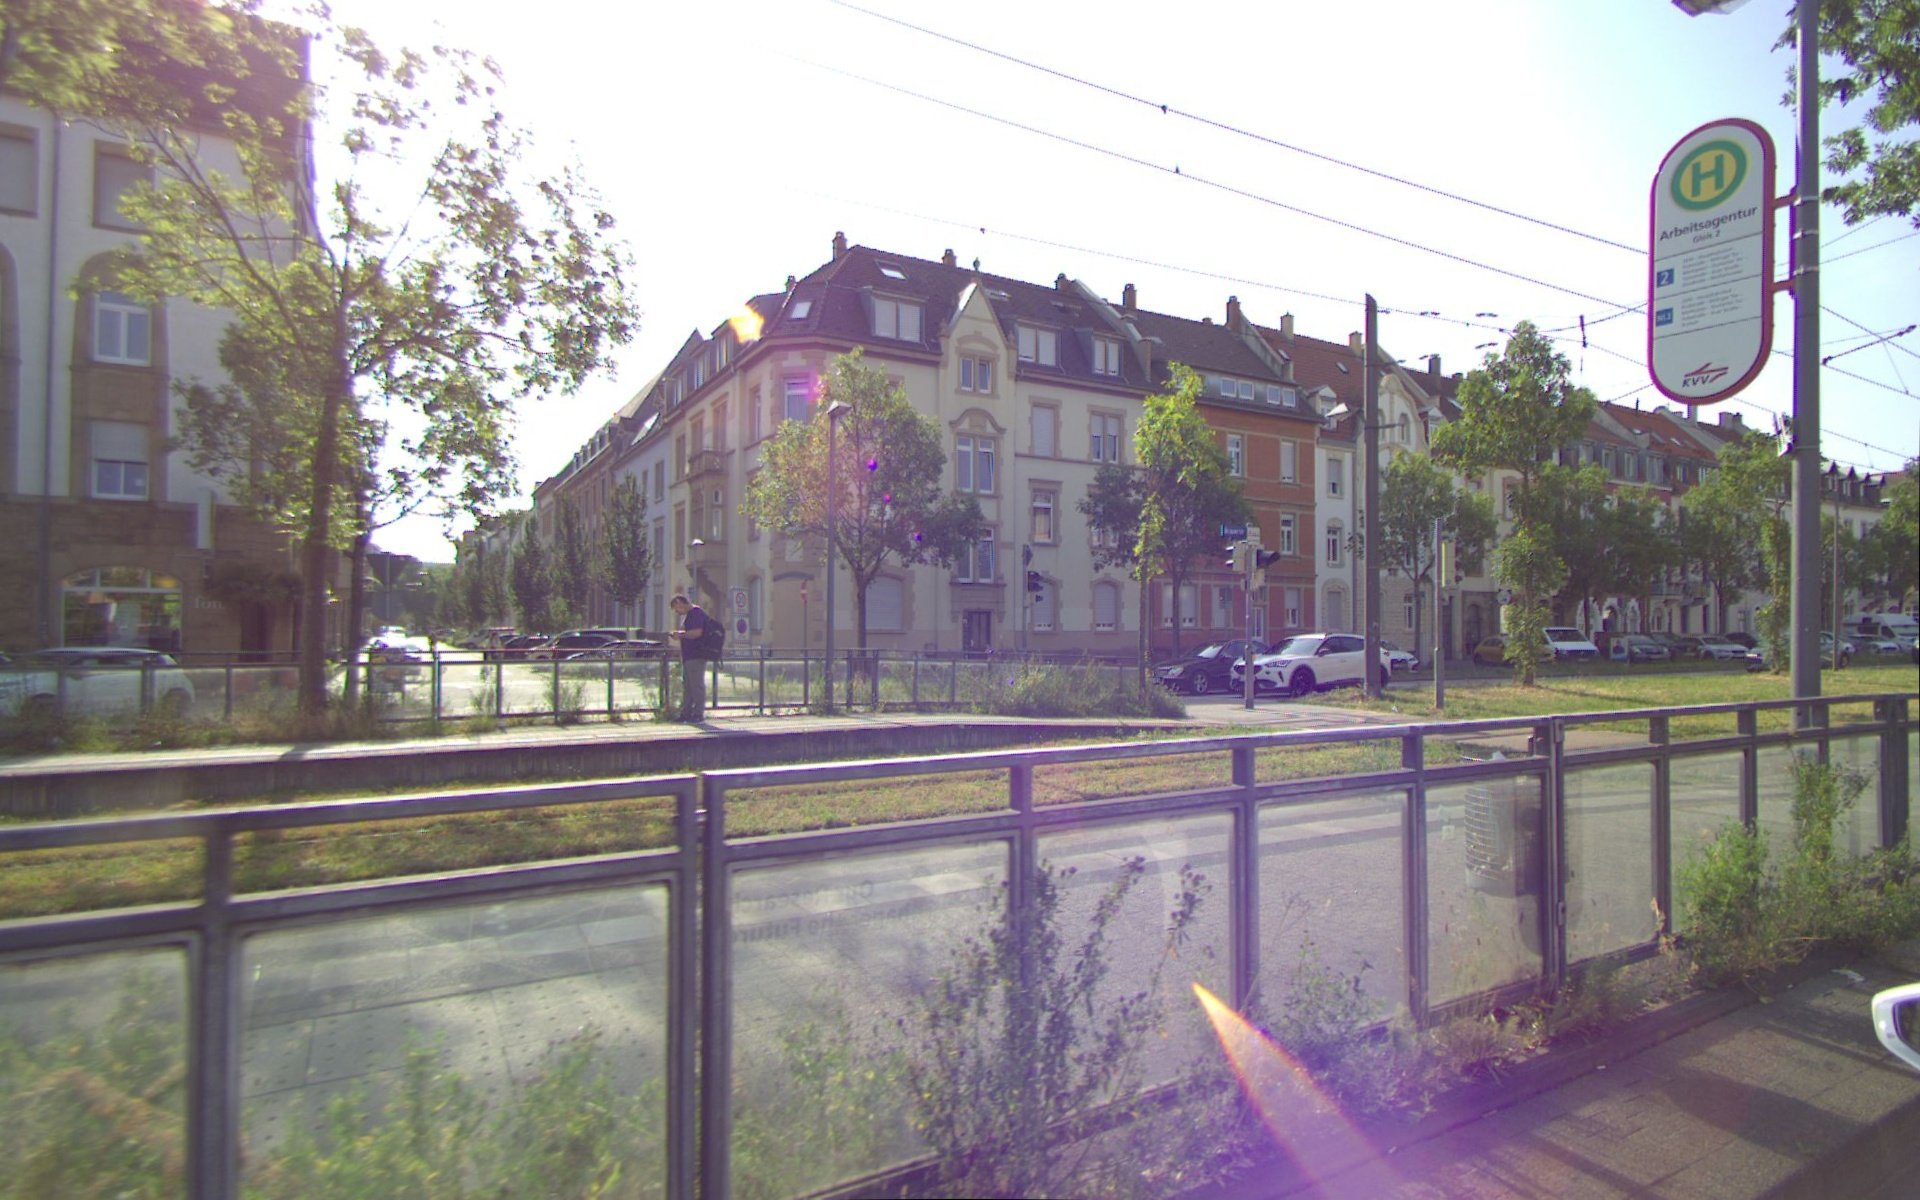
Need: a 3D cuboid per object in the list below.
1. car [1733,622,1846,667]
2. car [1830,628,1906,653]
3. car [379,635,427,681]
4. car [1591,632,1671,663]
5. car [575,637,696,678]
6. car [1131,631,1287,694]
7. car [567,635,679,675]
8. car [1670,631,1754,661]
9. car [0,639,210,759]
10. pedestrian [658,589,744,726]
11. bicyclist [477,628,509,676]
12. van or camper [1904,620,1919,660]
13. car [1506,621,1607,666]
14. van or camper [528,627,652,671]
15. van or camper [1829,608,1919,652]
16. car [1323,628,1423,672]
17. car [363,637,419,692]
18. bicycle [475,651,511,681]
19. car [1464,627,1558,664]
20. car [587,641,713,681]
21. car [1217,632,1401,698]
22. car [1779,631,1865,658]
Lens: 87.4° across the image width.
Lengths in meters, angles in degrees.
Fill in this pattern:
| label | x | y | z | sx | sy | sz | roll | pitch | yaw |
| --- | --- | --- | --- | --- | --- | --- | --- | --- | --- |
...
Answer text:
| label | x | y | z | sx | sy | sz | roll | pitch | yaw |
| --- | --- | --- | --- | --- | --- | --- | --- | --- | --- |
| car | 30.944 | 1.647 | 37.448 | 4.524 | 1.553 | 1.825 | 2 | 0 | -31 |
| car | 57.077 | 2.527 | 63.207 | 1.629 | 1.349 | 3.688 | 2 | 0 | 4 |
| car | -24.154 | 2.471 | 43.620 | 1.707 | 1.717 | 3.969 | 2 | 0 | -29 |
| car | 31.644 | 2.216 | 47.450 | 1.495 | 1.258 | 3.688 | -1 | 0 | 4 |
| car | -11.815 | 2.083 | 36.661 | 3.954 | 1.431 | 1.660 | 2 | -3 | -31 |
| car | 6.503 | 1.600 | 26.168 | 3.954 | 1.534 | 1.660 | 2 | -3 | -31 |
| car | -13.394 | 2.178 | 39.963 | 3.954 | 1.534 | 1.660 | 2 | -3 | -31 |
| car | 37.616 | 2.282 | 50.368 | 1.629 | 1.258 | 3.688 | 2 | 0 | 4 |
| car | -16.381 | 1.699 | 18.480 | 1.960 | 1.749 | 4.002 | 2 | 0 | 5 |
| pedestrian | -3.328 | 0.724 | 12.881 | 0.842 | 1.676 | 0.880 | 1 | -2 | -30 |
| bicyclist | -16.017 | 1.787 | 34.448 | 0.840 | 1.579 | 0.894 | 1 | 0 | -33 |
| van or camper | 53.021 | 2.189 | 53.979 | 5.292 | 2.125 | 1.941 | 2 | 0 | -31 |
| car | 26.387 | 1.876 | 44.651 | 1.819 | 1.749 | 4.954 | 2 | 0 | 4 |
| van or camper | -16.952 | 2.236 | 46.170 | 4.972 | 1.947 | 1.777 | 1 | -2 | 3 |
| van or camper | 59.820 | 1.904 | 65.059 | 2.155 | 2.608 | 5.928 | 2 | 0 | 4 |
| car | 15.618 | 1.914 | 38.272 | 1.983 | 1.504 | 4.780 | 2 | -3 | 2 |
| car | -19.664 | 2.188 | 34.811 | 1.585 | 1.604 | 3.797 | 2 | 0 | -29 |
| bicycle | -16.089 | 2.248 | 34.584 | 0.849 | 0.877 | 2.001 | 1 | 0 | -33 |
| car | 23.909 | 1.945 | 43.790 | 1.819 | 1.366 | 4.702 | 2 | 0 | 4 |
| car | -10.821 | 2.097 | 35.109 | 3.954 | 1.316 | 1.660 | 2 | -3 | -31 |
| car | 8.365 | 1.523 | 23.992 | 4.373 | 1.459 | 1.763 | 2 | -3 | -31 |
| car | 48.738 | 2.498 | 56.897 | 1.629 | 1.334 | 4.016 | 2 | 0 | 4 |
